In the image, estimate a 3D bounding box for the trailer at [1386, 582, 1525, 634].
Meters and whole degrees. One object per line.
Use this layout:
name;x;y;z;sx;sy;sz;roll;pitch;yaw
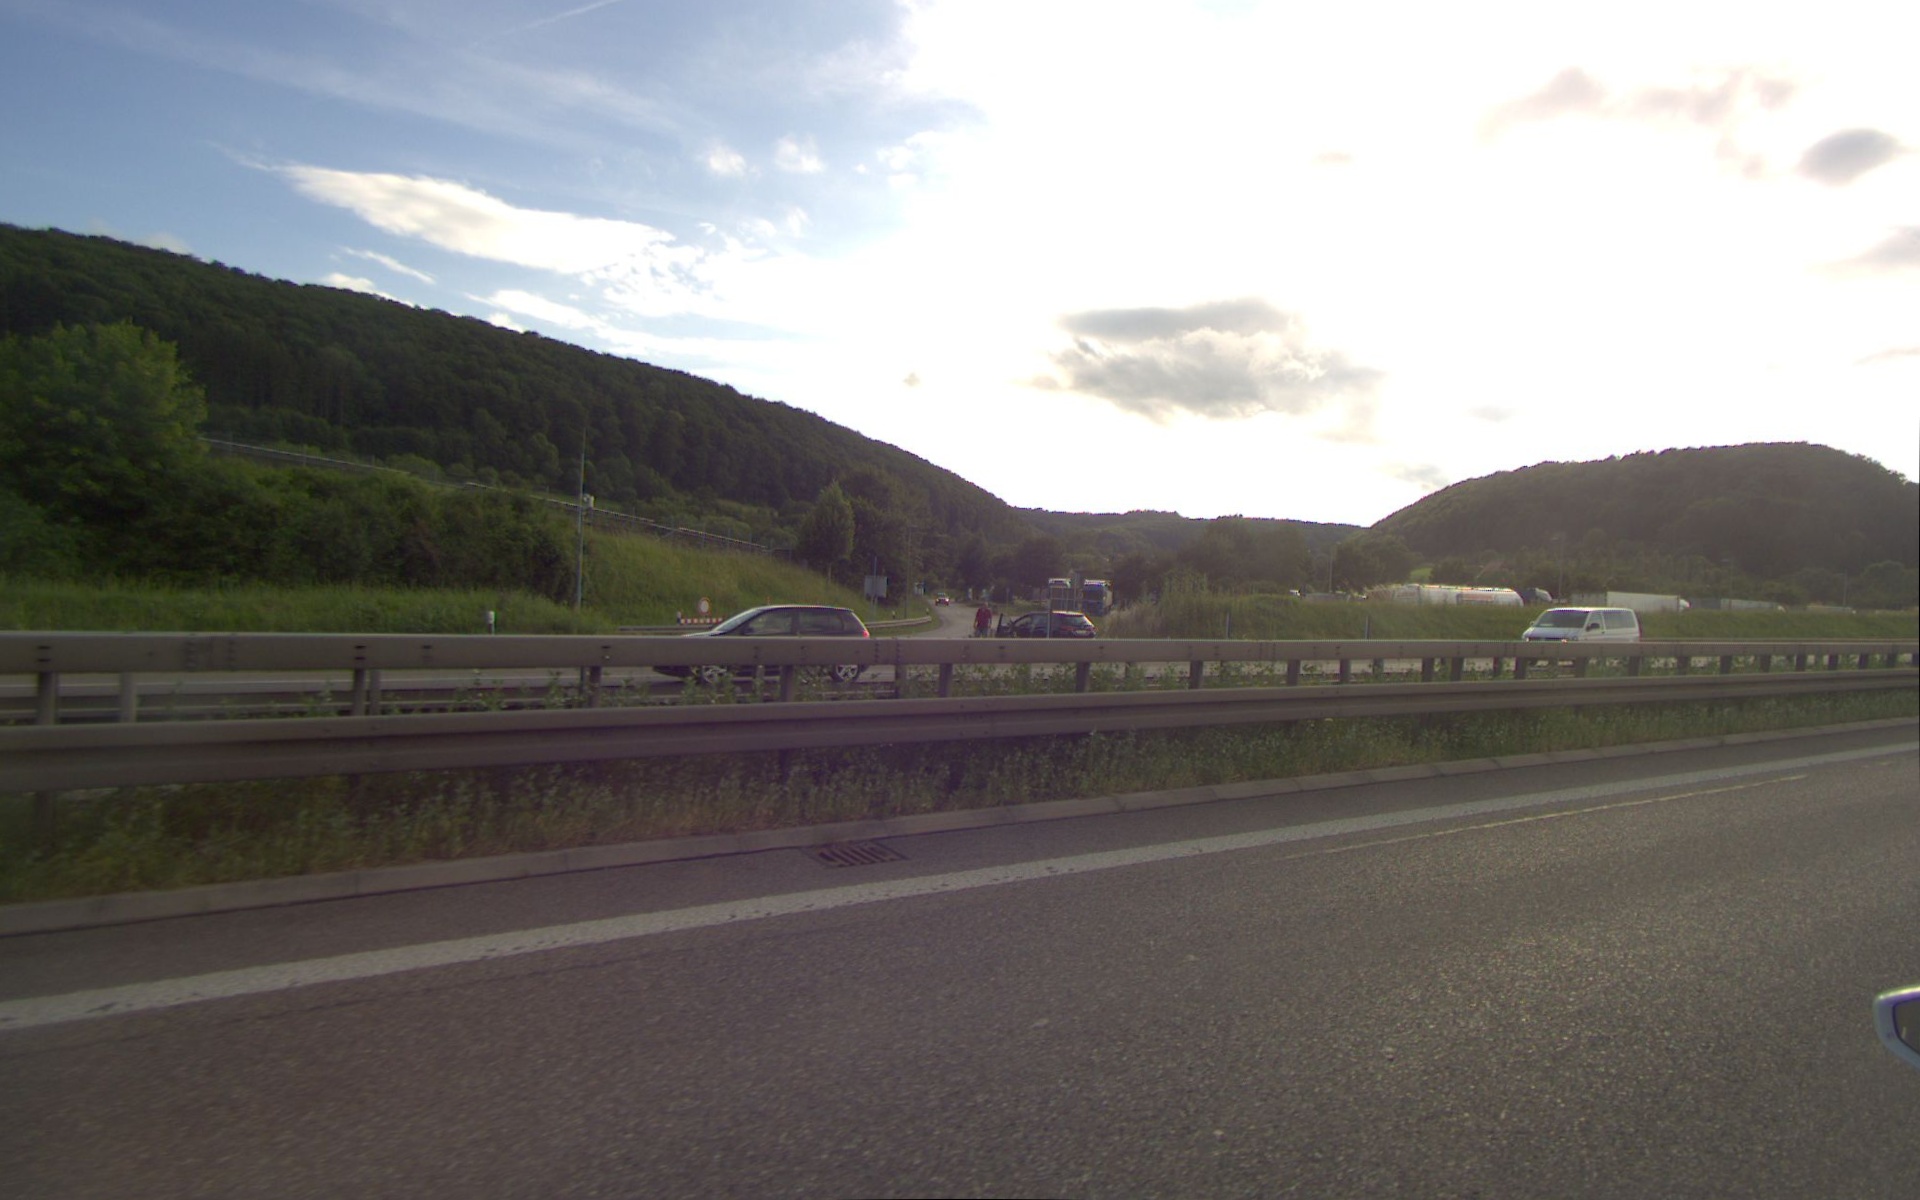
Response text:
trailer;33.186;0.591;66.892;12.137;2.891;2.563;3;-1;-34

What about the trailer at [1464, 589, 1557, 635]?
trailer;38.707;0.889;70.539;7.230;2.891;2.596;3;-1;-34

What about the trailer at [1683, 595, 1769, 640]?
trailer;71.246;1.734;93.286;13.551;3.744;2.856;3;-3;-37

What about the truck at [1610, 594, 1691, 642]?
truck;57.655;1.555;83.797;8.408;3.739;2.863;2;-2;-35

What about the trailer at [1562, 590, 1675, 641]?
trailer;52.857;1.373;80.372;13.542;3.745;2.858;2;-2;-36

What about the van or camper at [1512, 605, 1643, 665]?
van or camper;21.018;1.180;34.122;4.701;1.898;1.905;2;-1;-32

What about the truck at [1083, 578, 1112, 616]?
truck;15.744;-0.231;114.611;2.535;3.907;11.388;2;-1;11

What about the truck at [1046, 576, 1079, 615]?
truck;11.664;-0.412;113.497;2.535;3.907;11.388;2;-1;11

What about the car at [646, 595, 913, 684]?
car;-3.376;0.755;19.202;4.644;1.516;1.981;2;-2;-34

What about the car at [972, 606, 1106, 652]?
car;2.837;1.027;36.571;4.546;1.572;1.992;0;-1;38

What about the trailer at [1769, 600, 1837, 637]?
trailer;88.387;1.964;105.272;10.266;3.745;2.859;1;-1;-35

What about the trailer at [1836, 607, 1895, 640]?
trailer;106.498;2.784;118.022;10.266;3.745;2.859;1;-1;-35
